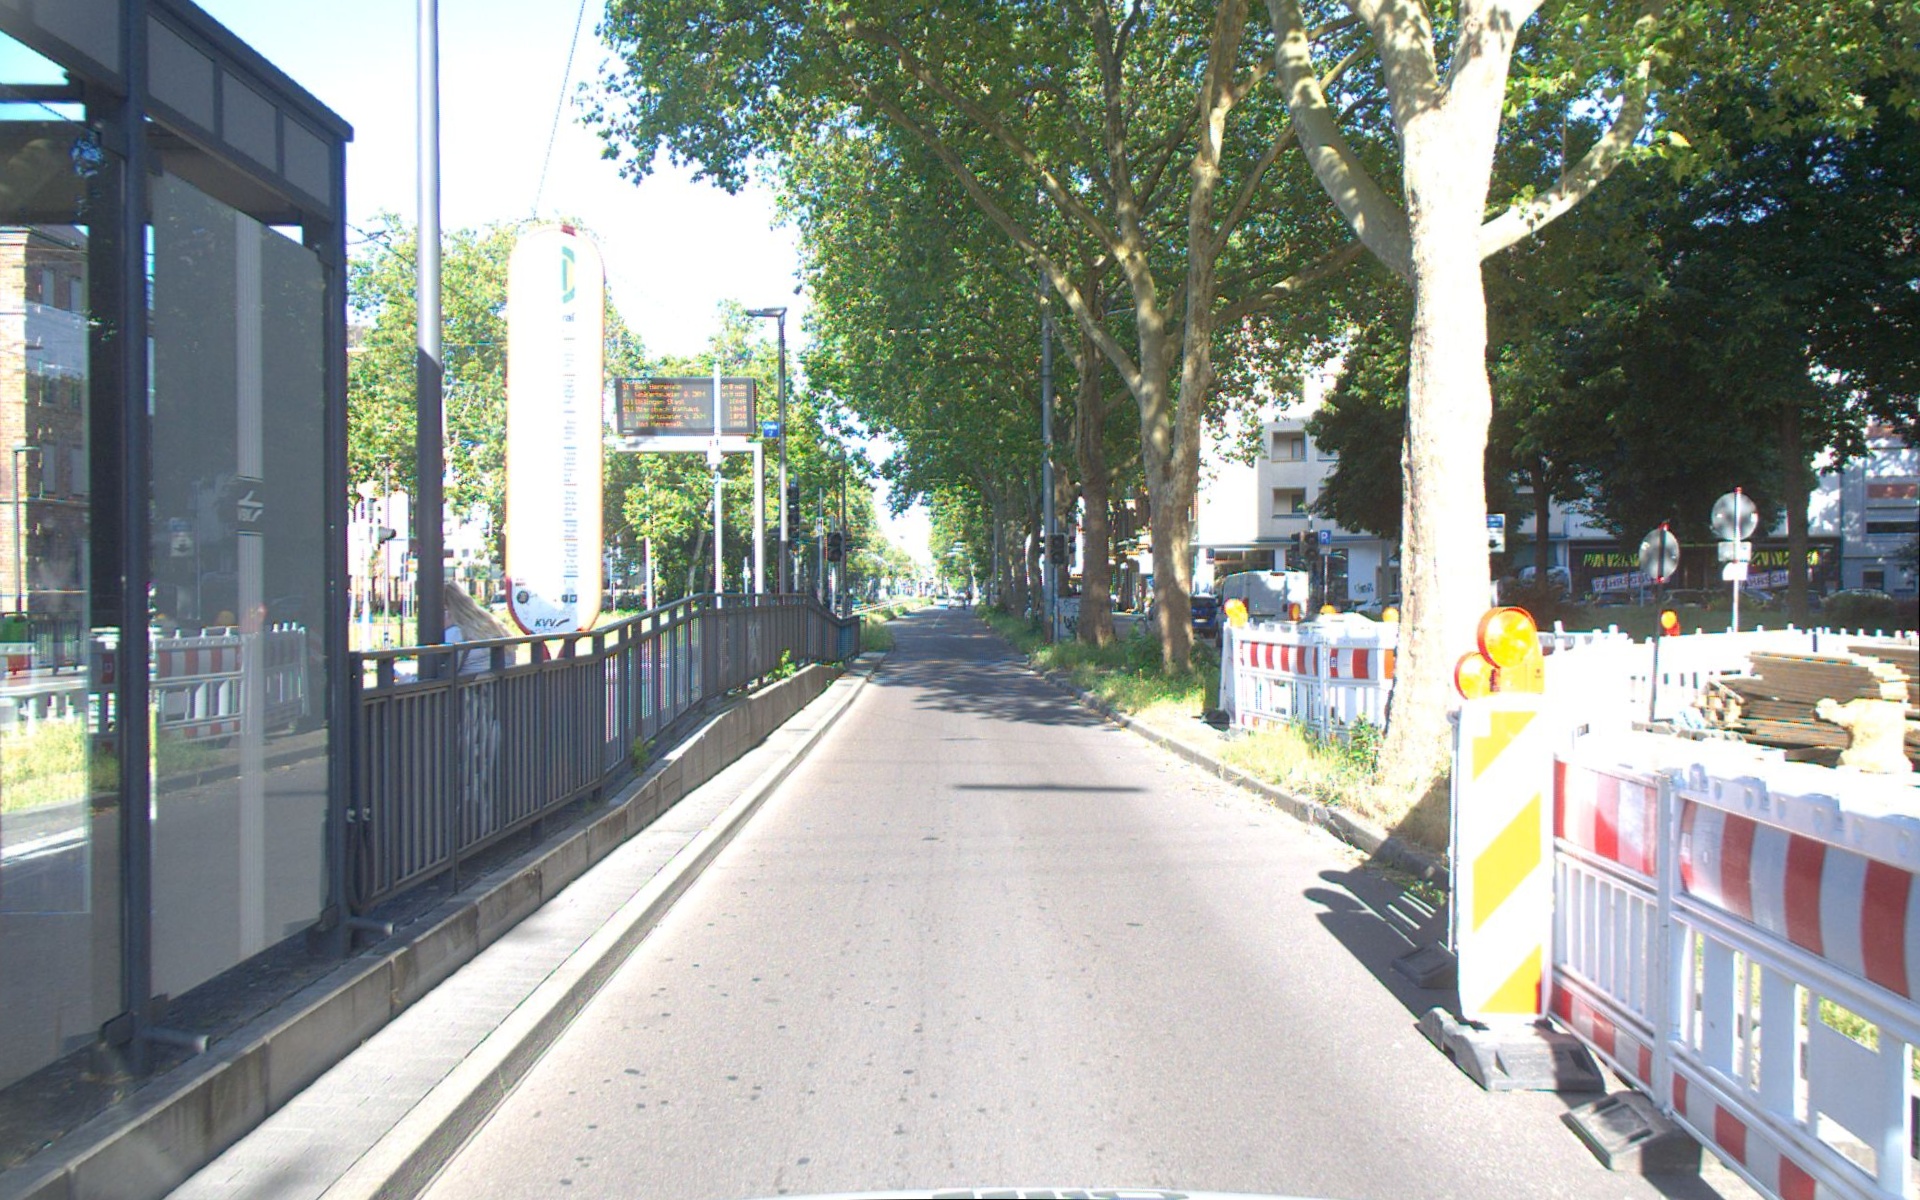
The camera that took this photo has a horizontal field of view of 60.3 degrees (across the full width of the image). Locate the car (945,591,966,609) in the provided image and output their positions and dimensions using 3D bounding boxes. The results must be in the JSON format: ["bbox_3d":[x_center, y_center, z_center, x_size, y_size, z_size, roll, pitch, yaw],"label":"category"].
[{"bbox_3d":[-0.459,0.008,162.949,1.980,1.691,3.999,0,0,-1],"label":"car"}]

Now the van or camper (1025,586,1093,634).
[{"bbox_3d":[3.442,0.340,57.958,1.477,1.615,2.826,0,0,-17],"label":"van or camper"}]

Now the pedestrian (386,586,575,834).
[{"bbox_3d":[-2.424,0.533,8.441,0.737,1.199,0.812,0,0,-2],"label":"pedestrian"}]

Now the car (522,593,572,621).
[{"bbox_3d":[-26.614,0.425,106.784,1.952,1.678,4.827,0,1,0],"label":"car"}]

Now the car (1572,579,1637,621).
[{"bbox_3d":[26.983,0.003,69.414,1.951,1.698,4.749,0,0,14],"label":"car"}]

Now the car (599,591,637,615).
[{"bbox_3d":[-26.534,0.219,128.509,2.066,1.840,4.737,0,1,-1],"label":"car"}]

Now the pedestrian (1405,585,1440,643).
[{"bbox_3d":[13.249,0.391,47.424,0.717,1.644,1.035,0,0,0],"label":"pedestrian"}]

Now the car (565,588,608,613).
[{"bbox_3d":[-26.505,0.011,117.439,1.731,1.749,4.422,0,1,4],"label":"car"}]

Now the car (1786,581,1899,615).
[{"bbox_3d":[40.977,-0.107,76.877,4.288,1.563,2.001,0,0,16],"label":"car"}]

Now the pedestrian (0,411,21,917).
[{"bbox_3d":[-3.773,0.230,5.664,0.668,1.815,0.754,0,0,0],"label":"pedestrian"}]

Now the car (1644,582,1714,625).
[{"bbox_3d":[29.976,0.125,69.070,1.951,1.698,4.749,0,0,14],"label":"car"}]

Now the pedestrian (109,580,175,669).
[{"bbox_3d":[-16.477,0.481,33.322,0.933,1.766,0.730,0,0,2],"label":"pedestrian"}]

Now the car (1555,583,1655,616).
[{"bbox_3d":[30.894,-0.031,79.374,4.288,1.563,2.001,0,0,16],"label":"car"}]

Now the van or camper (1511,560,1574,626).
[{"bbox_3d":[24.685,-0.310,70.230,2.101,2.682,5.592,0,0,15],"label":"van or camper"}]

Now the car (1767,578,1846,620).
[{"bbox_3d":[34.680,-0.057,67.854,1.951,1.656,4.393,0,0,14],"label":"car"}]

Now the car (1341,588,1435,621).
[{"bbox_3d":[21.243,0.195,82.179,4.489,1.608,2.002,0,0,15],"label":"car"}]

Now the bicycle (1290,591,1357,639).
[{"bbox_3d":[10.030,0.402,45.671,1.572,1.285,0.962,0,0,-5],"label":"bicycle"}]

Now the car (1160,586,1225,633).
[{"bbox_3d":[9.069,0.345,64.911,1.782,1.772,5.167,0,0,0],"label":"car"}]

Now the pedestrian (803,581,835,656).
[{"bbox_3d":[-3.243,0.416,38.103,0.697,1.710,0.772,0,0,-2],"label":"pedestrian"}]

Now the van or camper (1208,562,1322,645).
[{"bbox_3d":[9.007,0.101,49.373,2.244,2.326,5.822,0,0,-1],"label":"van or camper"}]

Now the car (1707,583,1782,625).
[{"bbox_3d":[32.408,0.154,68.441,1.951,1.656,4.393,0,0,14],"label":"car"}]

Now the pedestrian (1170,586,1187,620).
[{"bbox_3d":[11.418,0.160,86.347,0.779,1.734,0.724,-1,0,0],"label":"pedestrian"}]

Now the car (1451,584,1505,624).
[{"bbox_3d":[22.168,0.151,70.866,1.951,1.656,4.393,0,0,14],"label":"car"}]
